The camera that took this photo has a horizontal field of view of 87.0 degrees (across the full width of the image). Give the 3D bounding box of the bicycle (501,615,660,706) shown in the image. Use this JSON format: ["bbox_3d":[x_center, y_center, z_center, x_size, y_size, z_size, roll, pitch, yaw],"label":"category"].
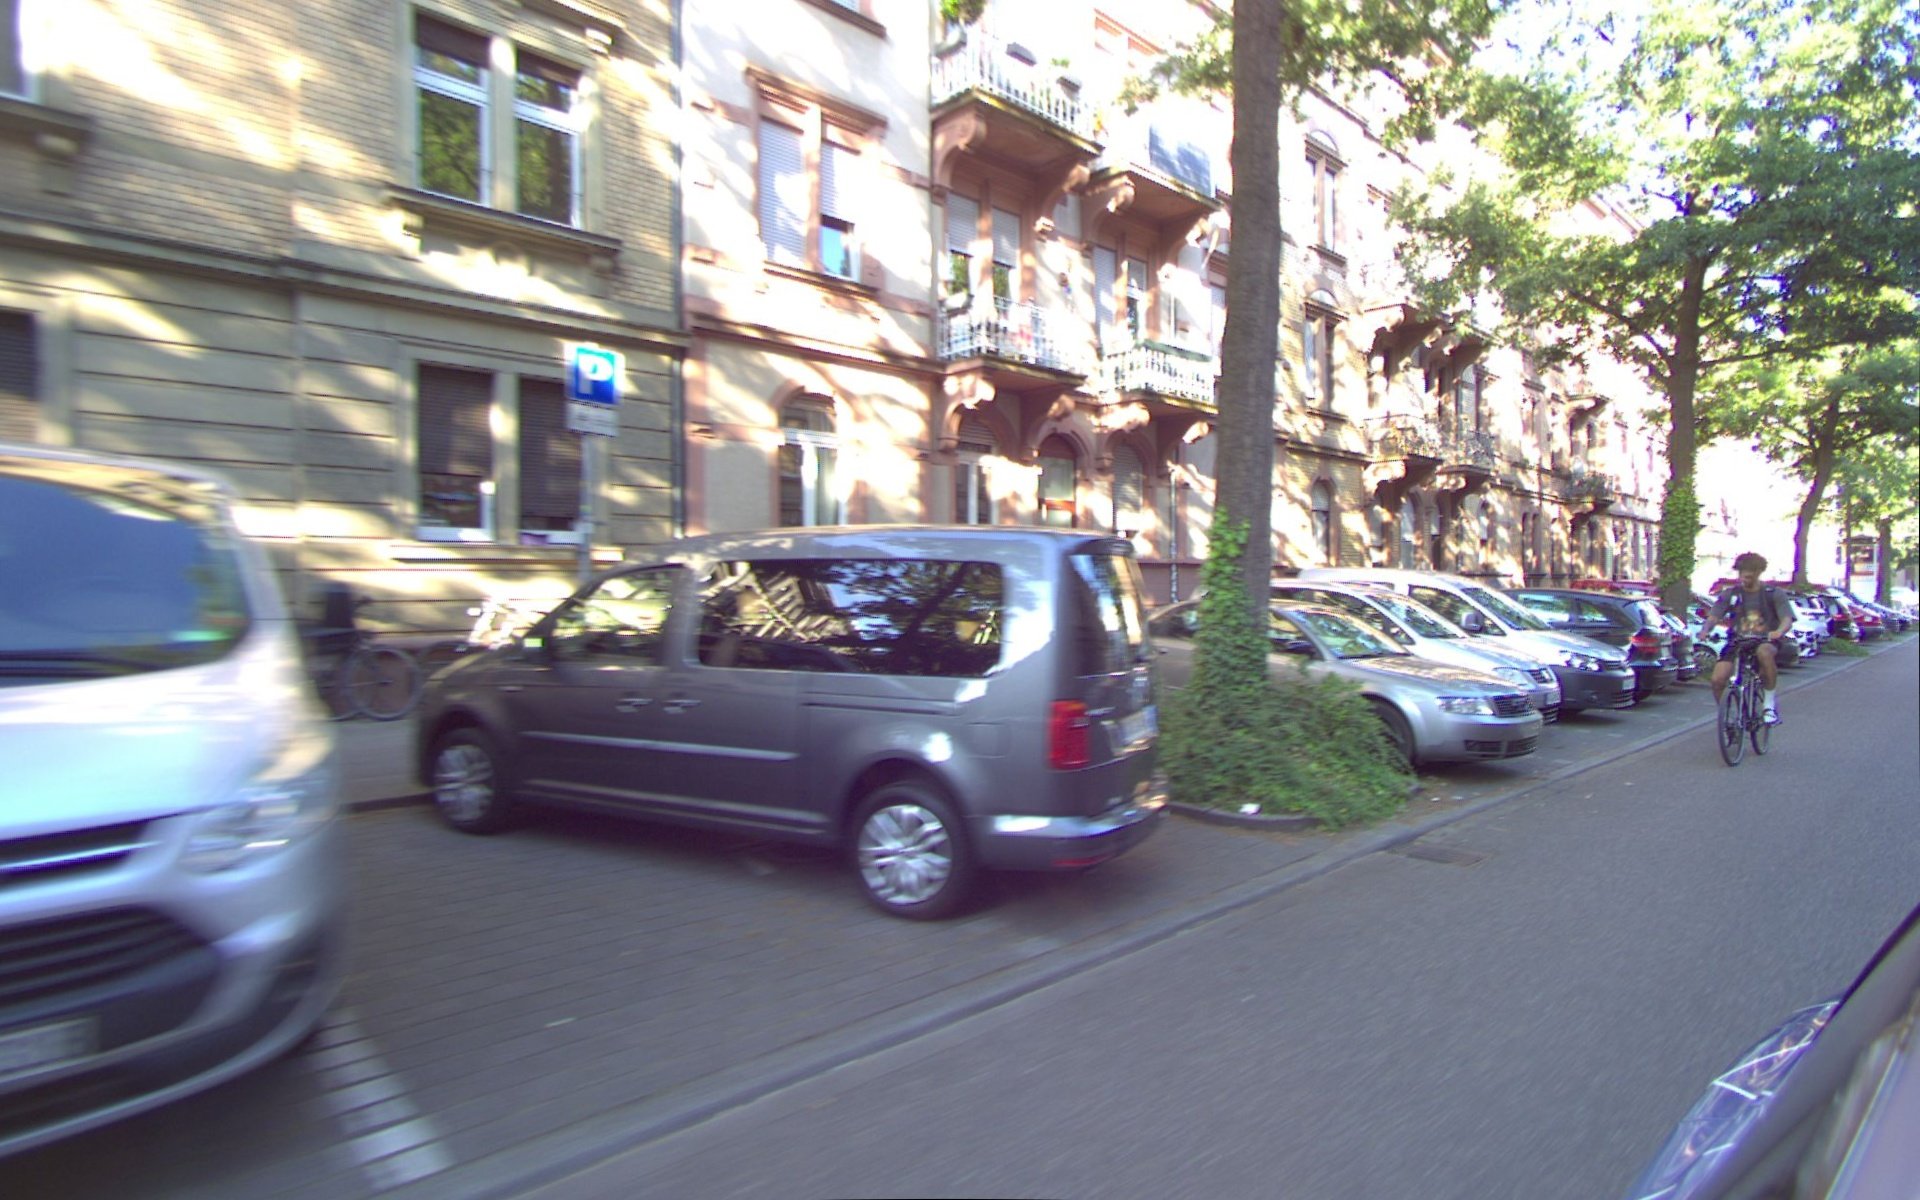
[{"bbox_3d":[-3.955,0.603,10.623,1.553,0.866,0.343,0,0,-42],"label":"bicycle"}]

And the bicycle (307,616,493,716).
[{"bbox_3d":[-5.386,0.609,9.800,1.553,0.866,0.307,0,0,-42],"label":"bicycle"}]

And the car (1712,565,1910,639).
[{"bbox_3d":[28.135,-0.003,33.606,1.892,2.001,4.698,0,5,-42],"label":"car"}]

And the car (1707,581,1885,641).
[{"bbox_3d":[26.314,0.291,31.959,1.750,1.472,4.056,0,5,-42],"label":"car"}]

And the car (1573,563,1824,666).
[{"bbox_3d":[15.952,0.228,22.025,1.749,1.909,4.056,0,3,-40],"label":"car"}]

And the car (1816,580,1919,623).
[{"bbox_3d":[39.320,0.065,43.150,1.750,1.548,4.056,0,5,-42],"label":"car"}]

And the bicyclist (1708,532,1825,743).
[{"bbox_3d":[7.781,0.331,9.752,1.101,1.899,0.711,0,1,-43],"label":"bicyclist"}]

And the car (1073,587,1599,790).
[{"bbox_3d":[3.388,0.637,9.886,1.869,1.385,4.467,0,2,-41],"label":"car"}]

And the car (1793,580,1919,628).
[{"bbox_3d":[35.941,0.127,40.217,1.750,1.548,4.056,0,5,-42],"label":"car"}]

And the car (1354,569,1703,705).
[{"bbox_3d":[8.401,0.426,15.261,1.710,1.607,4.237,0,3,-44],"label":"car"}]

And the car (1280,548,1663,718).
[{"bbox_3d":[6.660,0.386,13.562,1.751,1.910,4.238,0,0,-41],"label":"car"}]

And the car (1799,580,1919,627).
[{"bbox_3d":[37.416,0.112,41.744,1.750,1.548,4.056,0,5,-42],"label":"car"}]

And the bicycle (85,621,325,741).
[{"bbox_3d":[-6.118,0.627,8.268,1.553,0.866,0.307,0,0,-42],"label":"bicycle"}]

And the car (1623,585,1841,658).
[{"bbox_3d":[19.390,0.464,25.563,1.749,1.499,4.056,0,3,-40],"label":"car"}]

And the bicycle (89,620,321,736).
[{"bbox_3d":[-6.331,0.622,8.549,1.553,0.866,0.307,0,0,-42],"label":"bicycle"}]

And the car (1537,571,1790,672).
[{"bbox_3d":[14.113,0.345,20.467,1.708,1.703,3.843,0,3,-40],"label":"car"}]

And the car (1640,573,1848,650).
[{"bbox_3d":[20.960,0.245,27.184,1.750,1.640,4.056,0,5,-41],"label":"car"}]

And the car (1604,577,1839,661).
[{"bbox_3d":[17.690,0.368,23.664,1.749,1.599,4.056,0,3,-40],"label":"car"}]

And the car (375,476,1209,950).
[{"bbox_3d":[-1.070,0.381,5.976,4.632,1.914,1.891,2,1,26],"label":"car"}]

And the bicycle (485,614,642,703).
[{"bbox_3d":[-4.236,0.599,10.885,1.553,0.866,0.343,0,0,-42],"label":"bicycle"}]

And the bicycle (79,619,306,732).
[{"bbox_3d":[-6.596,0.618,8.758,1.553,0.866,0.307,0,0,-42],"label":"bicycle"}]

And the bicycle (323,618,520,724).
[{"bbox_3d":[-4.889,0.618,9.259,1.553,0.866,0.343,0,0,-42],"label":"bicycle"}]

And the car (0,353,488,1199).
[{"bbox_3d":[-3.754,0.345,3.626,4.922,1.925,2.141,4,3,44],"label":"car"}]

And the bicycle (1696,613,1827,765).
[{"bbox_3d":[7.733,0.791,9.733,1.856,1.275,0.711,0,1,-43],"label":"bicycle"}]

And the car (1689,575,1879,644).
[{"bbox_3d":[24.459,0.219,30.148,1.750,1.640,4.056,0,5,-41],"label":"car"}]

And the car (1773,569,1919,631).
[{"bbox_3d":[33.724,-0.049,38.448,1.750,1.956,4.056,0,5,-42],"label":"car"}]

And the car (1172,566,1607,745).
[{"bbox_3d":[4.802,0.471,11.747,1.872,1.623,4.235,0,2,-45],"label":"car"}]

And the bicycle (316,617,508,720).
[{"bbox_3d":[-5.130,0.613,9.541,1.553,0.866,0.343,0,0,-42],"label":"bicycle"}]

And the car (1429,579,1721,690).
[{"bbox_3d":[10.221,0.483,17.015,1.710,1.478,3.839,0,4,-44],"label":"car"}]
